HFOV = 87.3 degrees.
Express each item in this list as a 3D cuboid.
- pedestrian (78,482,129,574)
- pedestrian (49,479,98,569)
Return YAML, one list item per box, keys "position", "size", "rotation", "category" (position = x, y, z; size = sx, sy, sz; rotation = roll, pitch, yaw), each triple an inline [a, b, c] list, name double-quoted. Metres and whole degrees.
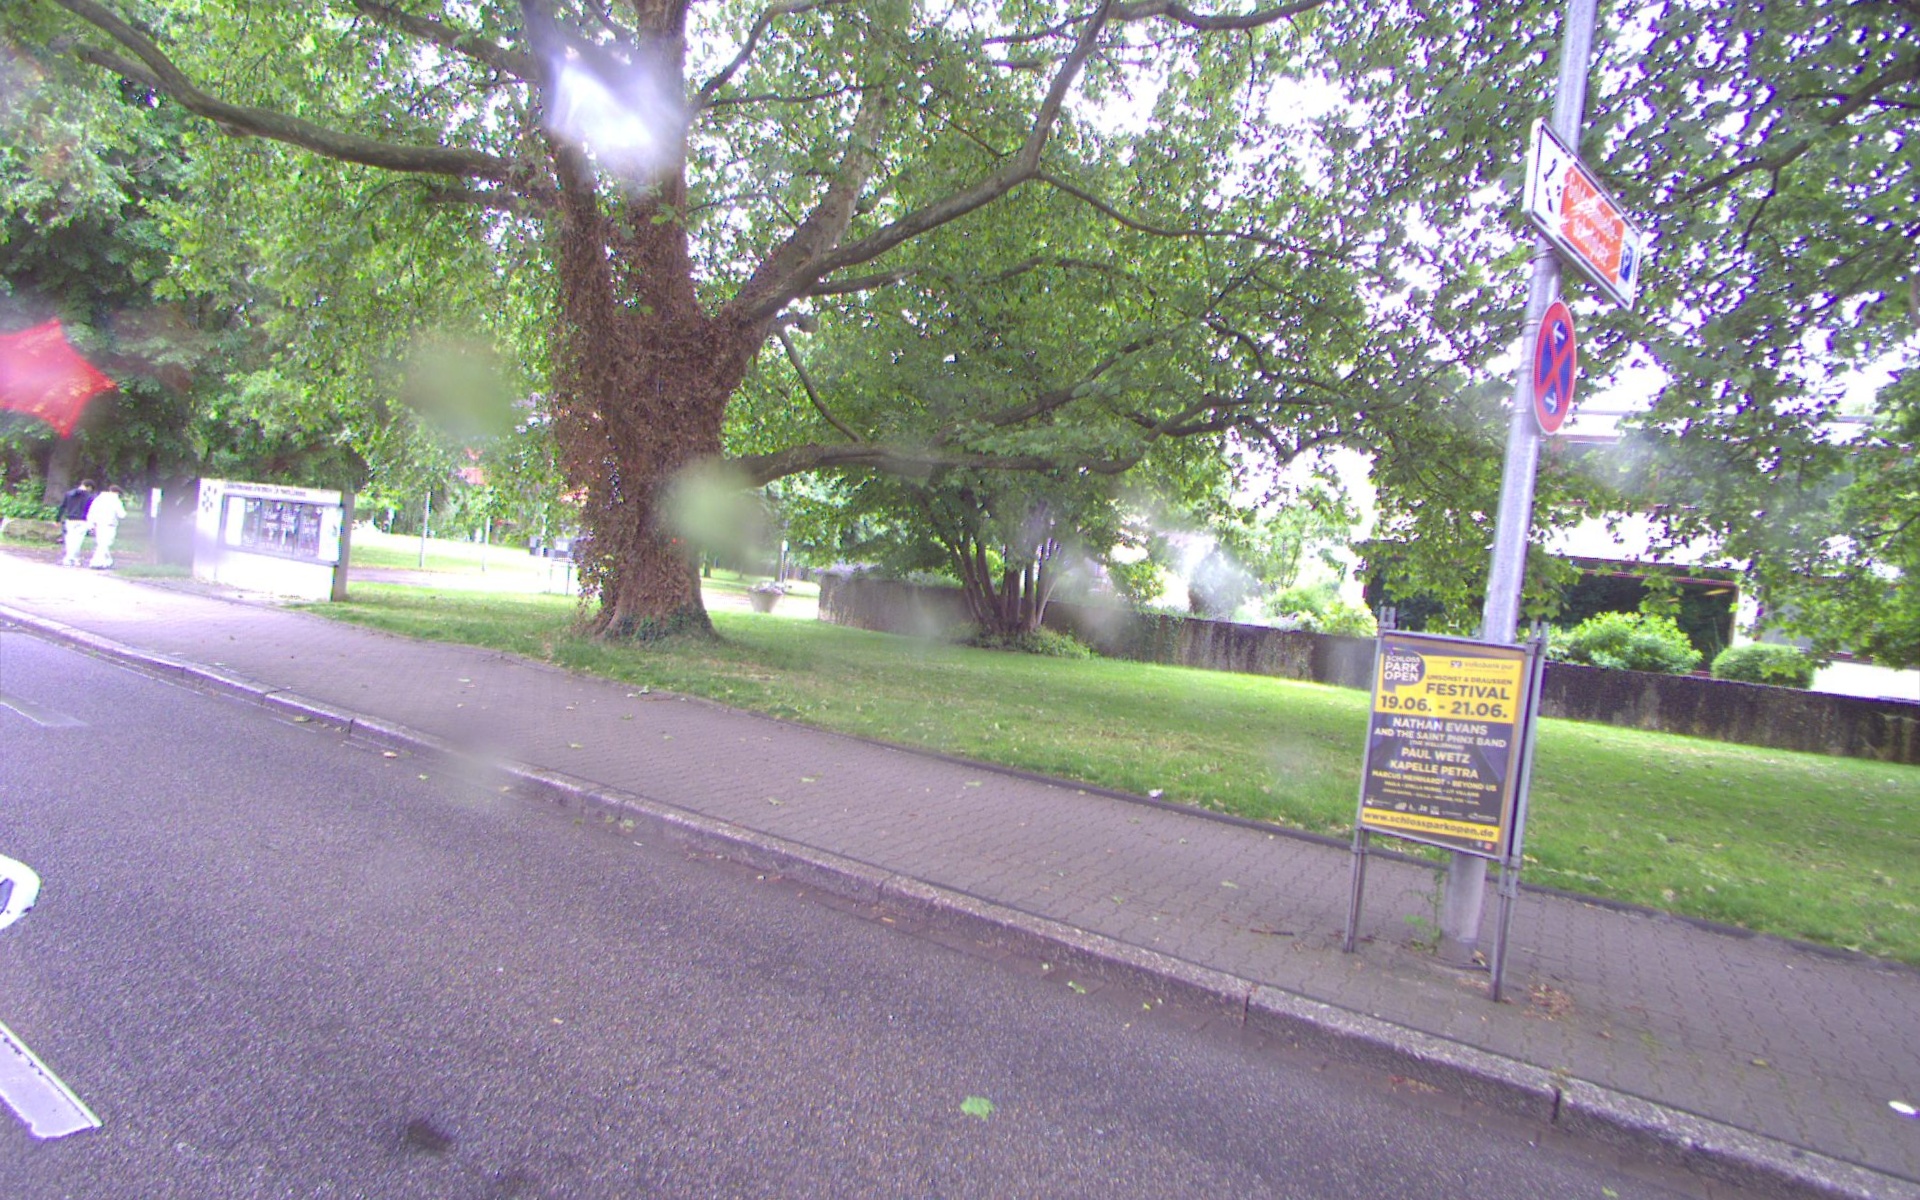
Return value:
- position: [-17.013, -1.422, 19.987]
  size: [0.550, 1.744, 0.504]
  rotation: [7, 2, 25]
  category: "pedestrian"
- position: [-18.050, -1.540, 20.488]
  size: [0.550, 1.744, 0.485]
  rotation: [7, 2, 25]
  category: "pedestrian"
